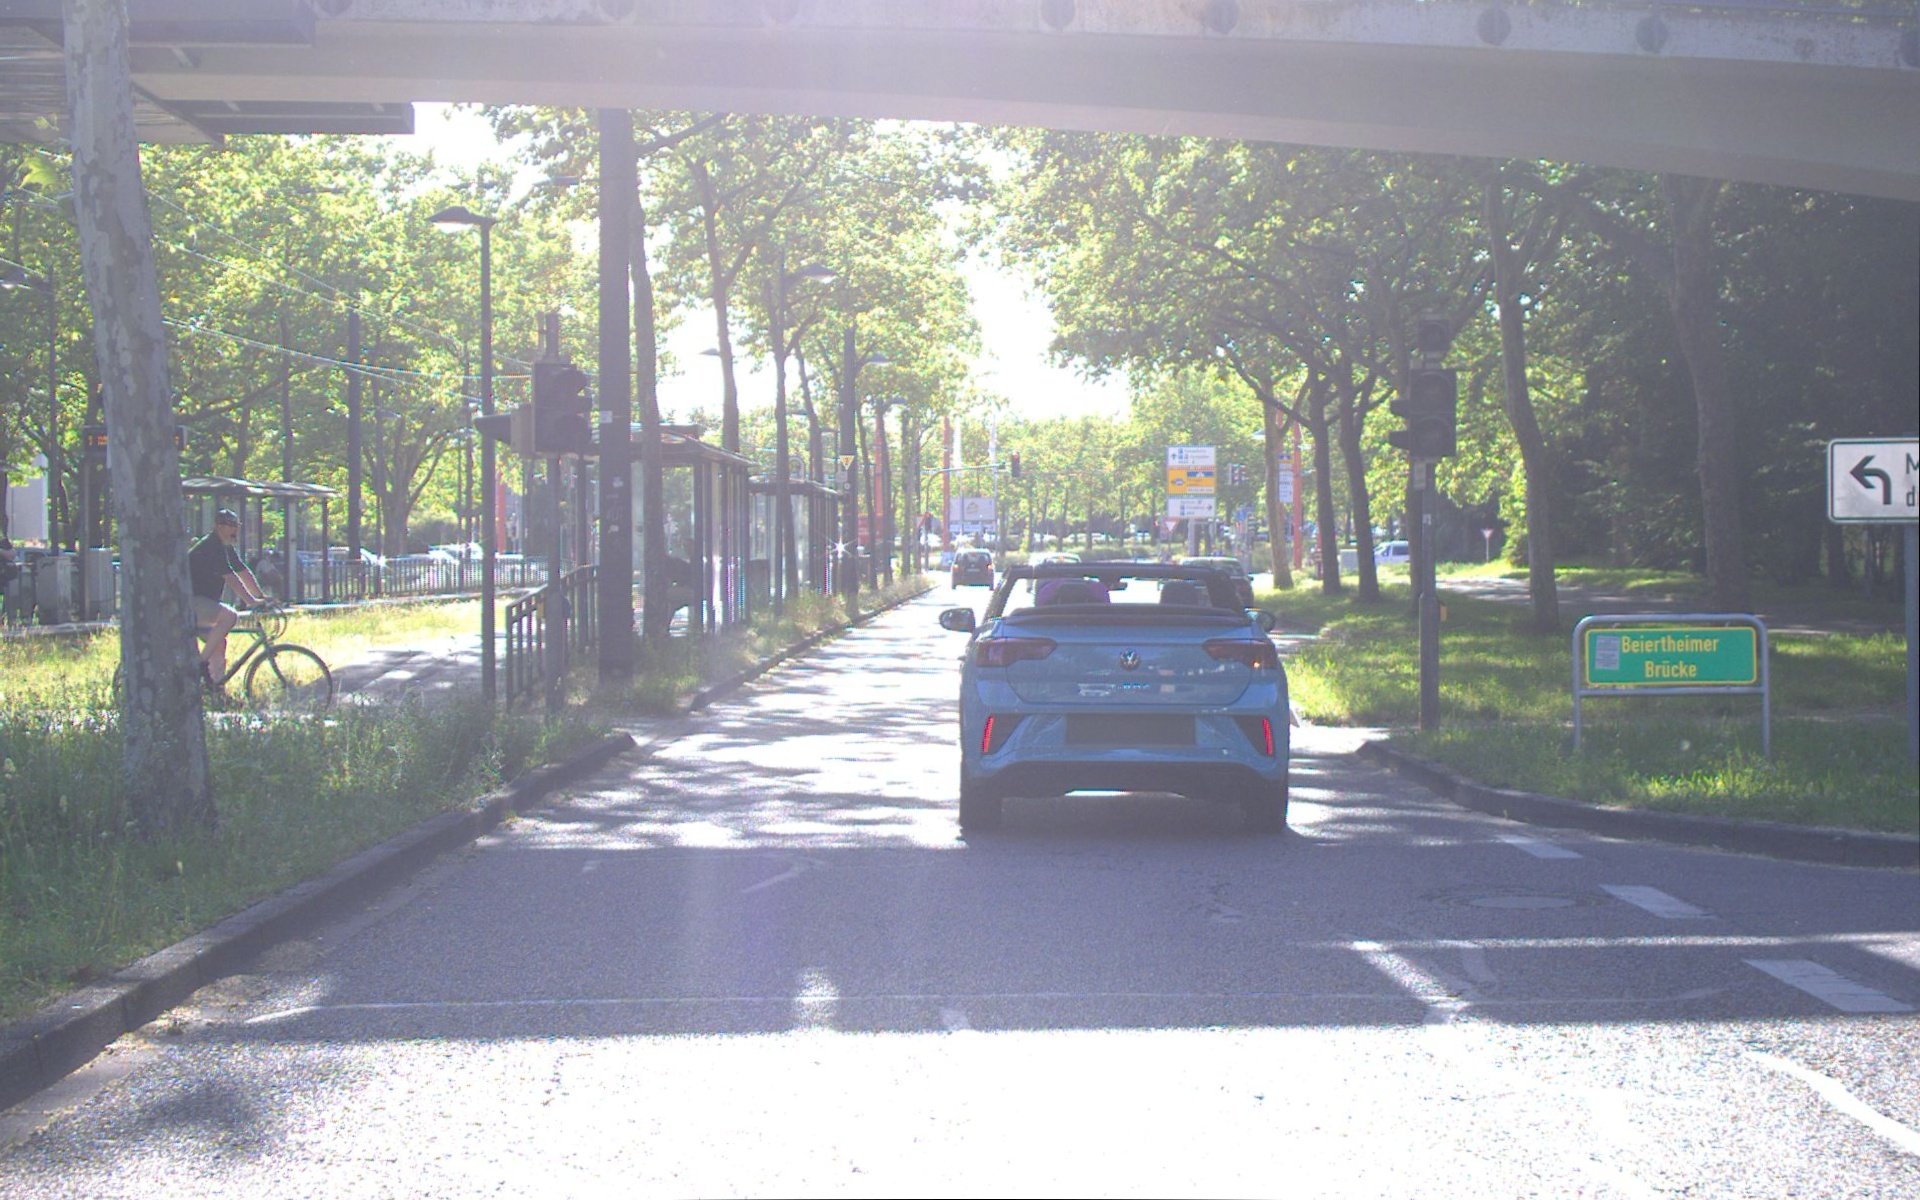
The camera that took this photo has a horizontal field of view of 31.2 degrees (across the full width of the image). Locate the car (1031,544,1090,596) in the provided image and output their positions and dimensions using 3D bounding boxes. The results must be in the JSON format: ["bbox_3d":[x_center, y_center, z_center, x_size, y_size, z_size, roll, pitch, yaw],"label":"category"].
[{"bbox_3d":[3.093,-0.940,106.340,1.639,1.489,3.503,1,1,0],"label":"car"}]

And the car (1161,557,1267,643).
[{"bbox_3d":[5.496,-0.019,74.939,1.982,1.786,4.614,-1,0,0],"label":"car"}]

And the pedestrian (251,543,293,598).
[{"bbox_3d":[-14.660,-0.630,73.311,0.694,1.123,0.662,-3,0,1],"label":"pedestrian"}]

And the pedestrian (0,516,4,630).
[{"bbox_3d":[-14.155,-0.374,48.955,0.714,1.629,0.730,-1,0,35],"label":"pedestrian"}]

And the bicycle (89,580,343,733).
[{"bbox_3d":[-6.000,0.448,27.789,1.831,1.143,0.815,2,1,3],"label":"bicycle"}]

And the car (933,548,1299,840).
[{"bbox_3d":[0.790,0.455,19.827,1.776,1.478,4.101,1,1,-2],"label":"car"}]

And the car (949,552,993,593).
[{"bbox_3d":[0.412,-1.114,137.330,1.710,1.598,3.350,1,0,0],"label":"car"}]

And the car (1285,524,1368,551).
[{"bbox_3d":[19.298,-3.273,181.072,3.993,1.333,1.726,1,0,27],"label":"car"}]

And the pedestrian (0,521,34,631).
[{"bbox_3d":[-13.374,-0.329,47.812,0.683,1.508,0.643,-1,1,36],"label":"pedestrian"}]

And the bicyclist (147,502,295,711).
[{"bbox_3d":[-5.961,0.042,27.777,0.953,1.626,0.815,2,1,3],"label":"bicyclist"}]

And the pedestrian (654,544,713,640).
[{"bbox_3d":[-3.648,-0.109,45.307,0.733,1.248,0.588,1,0,-5],"label":"pedestrian"}]
